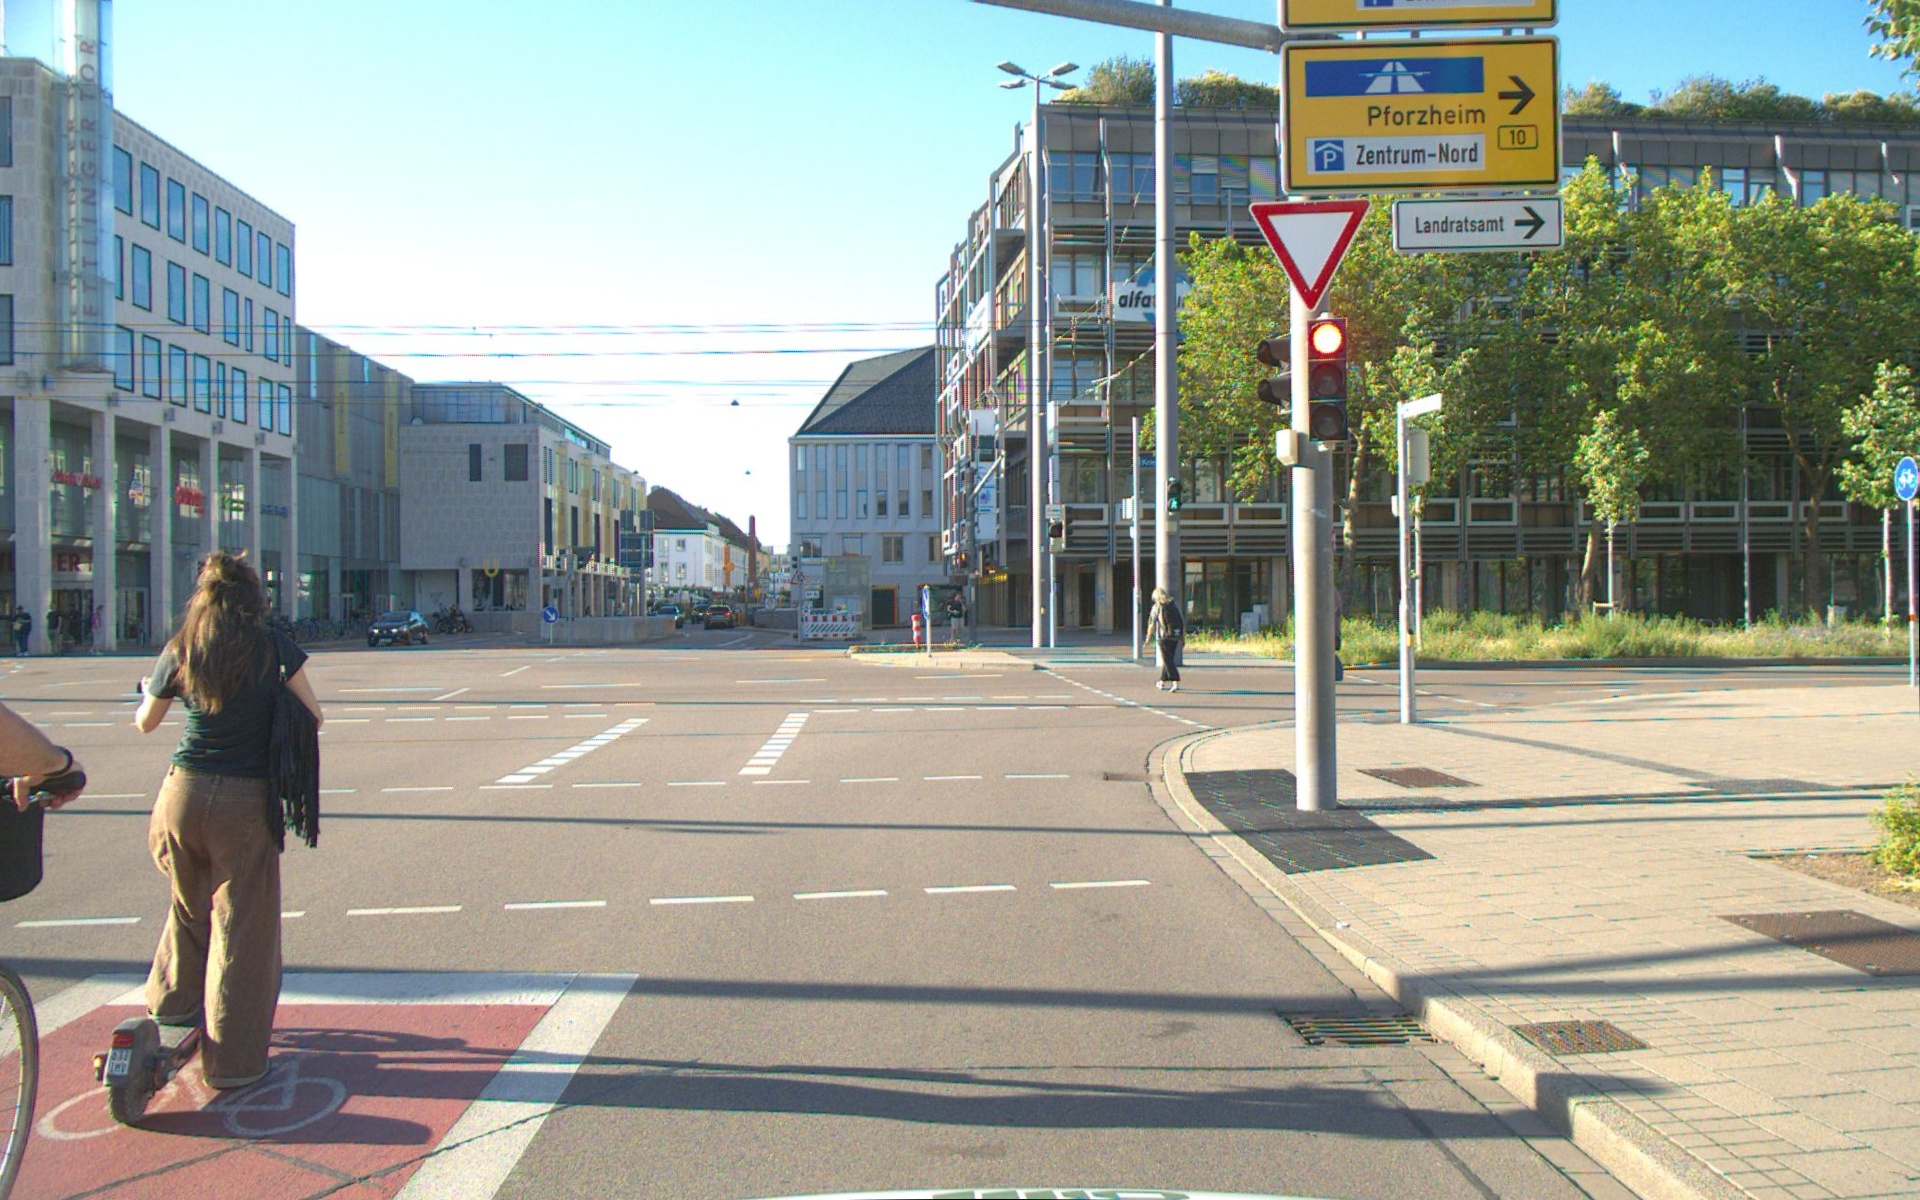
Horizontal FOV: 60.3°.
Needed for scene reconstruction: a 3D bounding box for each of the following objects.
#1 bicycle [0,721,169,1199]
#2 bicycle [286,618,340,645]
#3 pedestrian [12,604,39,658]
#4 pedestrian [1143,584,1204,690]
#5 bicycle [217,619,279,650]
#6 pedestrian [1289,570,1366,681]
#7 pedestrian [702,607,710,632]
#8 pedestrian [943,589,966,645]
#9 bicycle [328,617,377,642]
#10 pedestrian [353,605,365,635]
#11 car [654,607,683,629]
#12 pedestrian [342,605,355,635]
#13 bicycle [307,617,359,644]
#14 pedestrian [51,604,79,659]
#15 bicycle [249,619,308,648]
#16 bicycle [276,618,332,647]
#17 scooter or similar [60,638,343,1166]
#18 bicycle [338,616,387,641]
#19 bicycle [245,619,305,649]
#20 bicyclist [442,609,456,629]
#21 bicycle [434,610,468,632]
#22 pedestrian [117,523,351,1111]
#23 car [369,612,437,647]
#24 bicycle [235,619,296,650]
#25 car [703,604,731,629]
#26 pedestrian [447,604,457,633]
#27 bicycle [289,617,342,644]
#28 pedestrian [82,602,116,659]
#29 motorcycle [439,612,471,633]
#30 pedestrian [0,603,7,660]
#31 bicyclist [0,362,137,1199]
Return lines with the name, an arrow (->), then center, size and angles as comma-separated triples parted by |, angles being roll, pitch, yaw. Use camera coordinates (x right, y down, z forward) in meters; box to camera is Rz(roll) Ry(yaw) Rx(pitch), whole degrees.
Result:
bicycle -> -2.075, 0.869, 2.923 | 0.475, 1.176, 1.831 | 1, 0, -1
bicycle -> -30.062, 1.460, 76.843 | 2.260, 1.244, 0.611 | 0, 0, -3
pedestrian -> -32.904, 1.088, 58.232 | 0.787, 1.876, 0.856 | 0, 0, -29
pedestrian -> 3.106, 0.536, 24.114 | 0.772, 1.518, 0.644 | 1, -1, -1
bicycle -> -29.331, 1.434, 68.111 | 2.260, 1.244, 0.611 | 0, 0, -3
pedestrian -> 5.777, 0.397, 26.019 | 0.862, 1.694, 0.962 | 1, -1, -10
pedestrian -> -17.917, 1.370, 116.868 | 0.511, 1.709, 0.582 | 1, 0, -8
pedestrian -> -0.200, 0.583, 57.293 | 0.772, 1.923, 0.644 | 1, -1, -1
bicycle -> -30.925, 1.477, 84.262 | 2.260, 1.244, 0.611 | 0, 0, -3
pedestrian -> -34.197, 1.151, 94.116 | 0.544, 1.709, 0.606 | 1, 0, -11
car -> -22.182, 1.355, 125.855 | 1.762, 1.686, 3.996 | 1, 0, -5
pedestrian -> -34.737, 1.148, 93.929 | 0.560, 1.709, 0.614 | 1, 0, -10
bicycle -> -30.332, 1.469, 80.045 | 2.260, 1.244, 0.611 | 0, 0, -3
pedestrian -> -31.168, 1.079, 57.598 | 0.788, 1.876, 0.854 | 0, 0, -33
bicycle -> -29.501, 1.447, 71.628 | 2.260, 1.244, 0.611 | 0, 0, -3
bicycle -> -29.601, 1.458, 74.692 | 2.260, 1.244, 0.611 | 0, 0, -3
scooter or similar -> -2.171, 0.785, 4.856 | 0.538, 1.316, 1.189 | 1, 0, -15
bicycle -> -30.814, 1.484, 85.332 | 2.260, 1.244, 0.611 | 0, 0, -3
bicycle -> -29.288, 1.446, 70.751 | 2.260, 1.244, 0.611 | 0, 0, -3
bicyclist -> -29.262, 1.073, 94.709 | 0.618, 1.103, 0.505 | 1, 0, -37
bicycle -> -29.176, 1.224, 94.797 | 1.792, 1.228, 0.505 | 1, 0, -38
pedestrian -> -2.181, 0.617, 5.024 | 0.540, 1.661, 0.569 | 1, -1, -16
car -> -23.375, 1.215, 69.479 | 1.597, 1.365, 3.998 | -3, 0, -3
bicycle -> -29.123, 1.443, 69.397 | 2.260, 1.244, 0.611 | 0, 0, -3
car -> -15.824, 1.067, 107.941 | 1.705, 1.558, 3.849 | 1, 0, -8
pedestrian -> -30.097, 1.084, 98.073 | 0.512, 1.709, 0.581 | 1, 0, -14
bicycle -> -30.712, 1.457, 78.813 | 2.260, 1.244, 0.611 | 0, 0, -3
pedestrian -> -30.853, 1.089, 59.270 | 0.868, 2.049, 0.771 | 1, -1, -12
motorcycle -> -29.760, 1.339, 97.470 | 1.775, 1.228, 0.509 | 1, 0, -16
pedestrian -> -33.305, 1.079, 57.007 | 0.706, 1.918, 0.780 | 1, -1, -28
bicyclist -> -1.971, 0.465, 2.848 | 0.647, 1.750, 0.865 | 1, -1, -1
